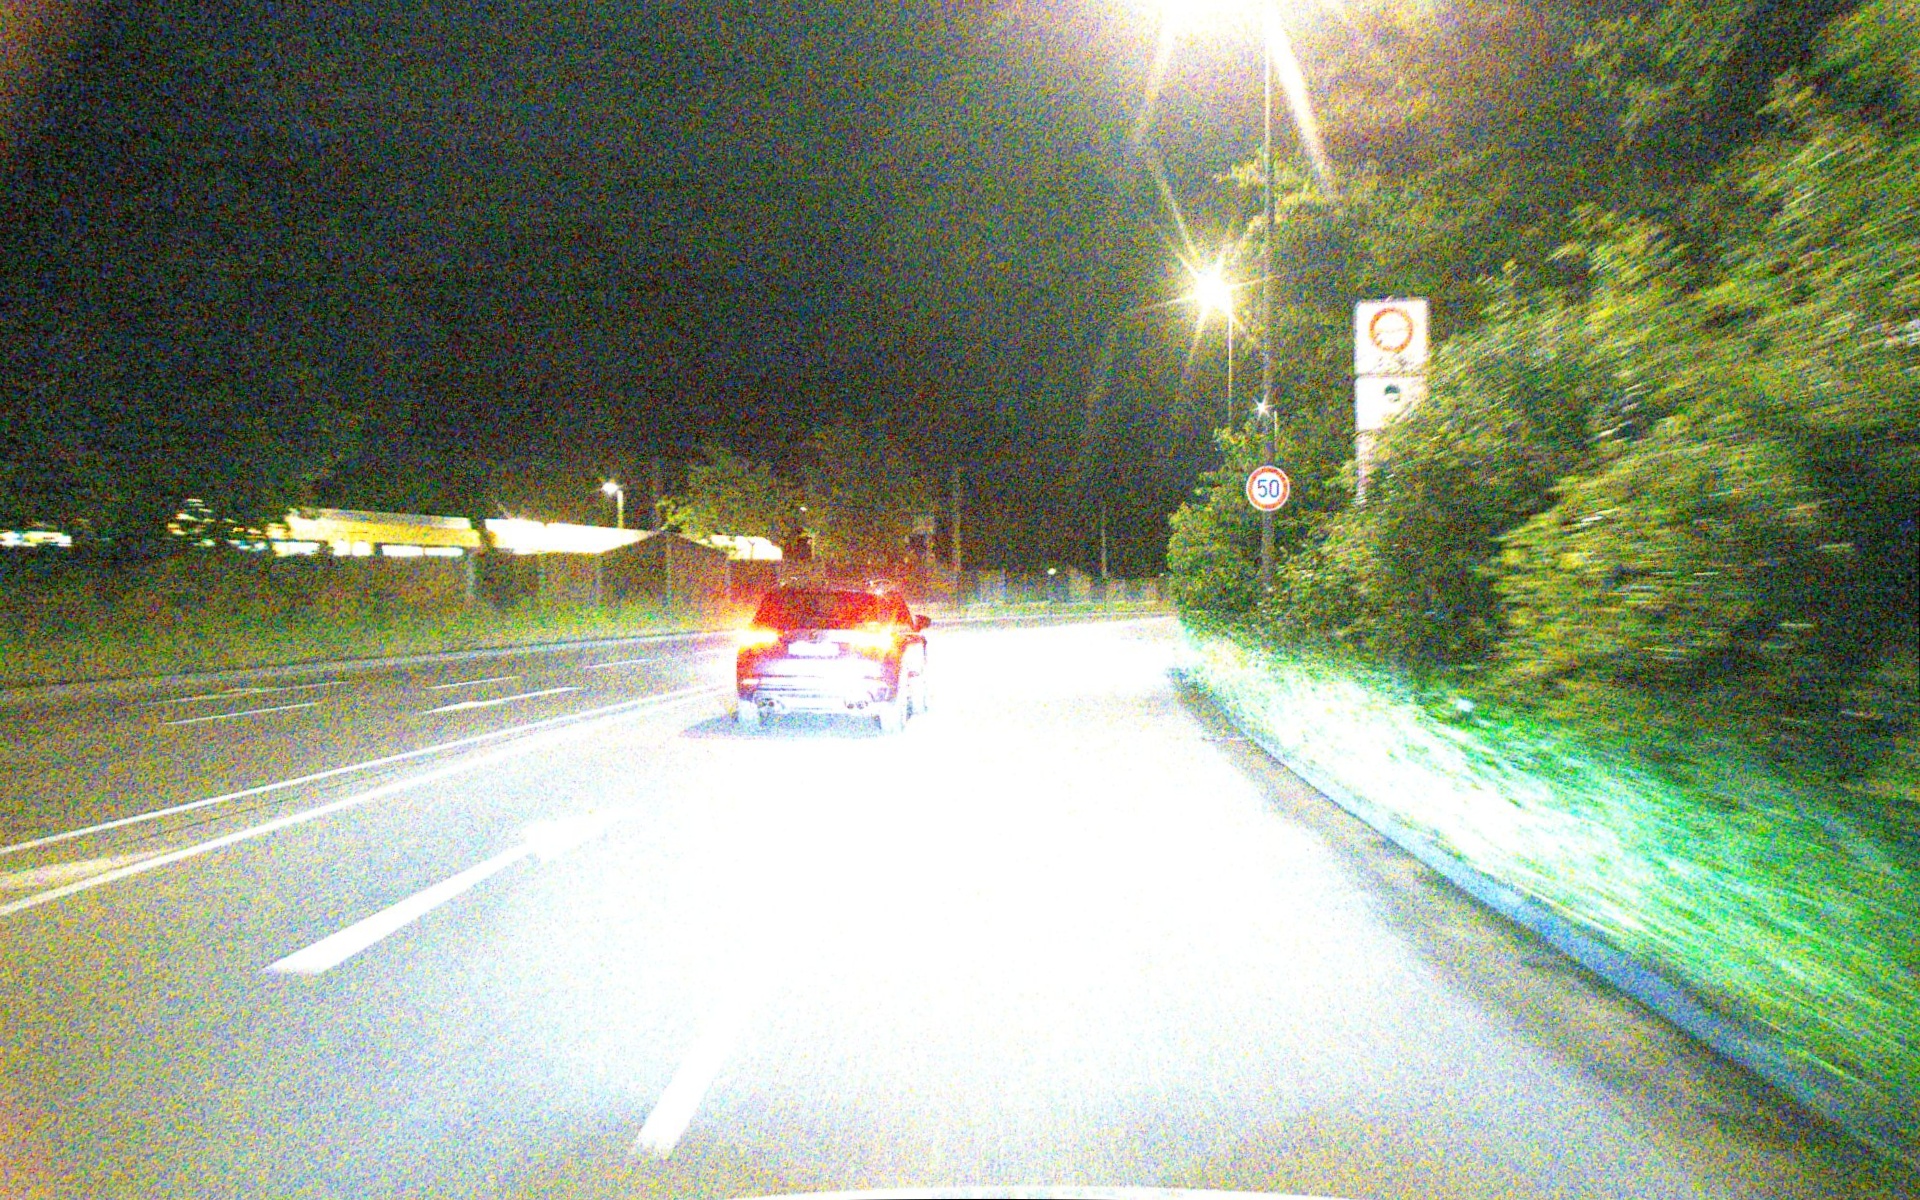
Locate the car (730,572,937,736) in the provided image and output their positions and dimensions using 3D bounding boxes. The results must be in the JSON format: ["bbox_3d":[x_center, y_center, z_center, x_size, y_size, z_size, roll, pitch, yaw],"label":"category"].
[{"bbox_3d":[-1.307,0.531,18.647,1.777,1.601,3.945,2,0,3],"label":"car"}]
